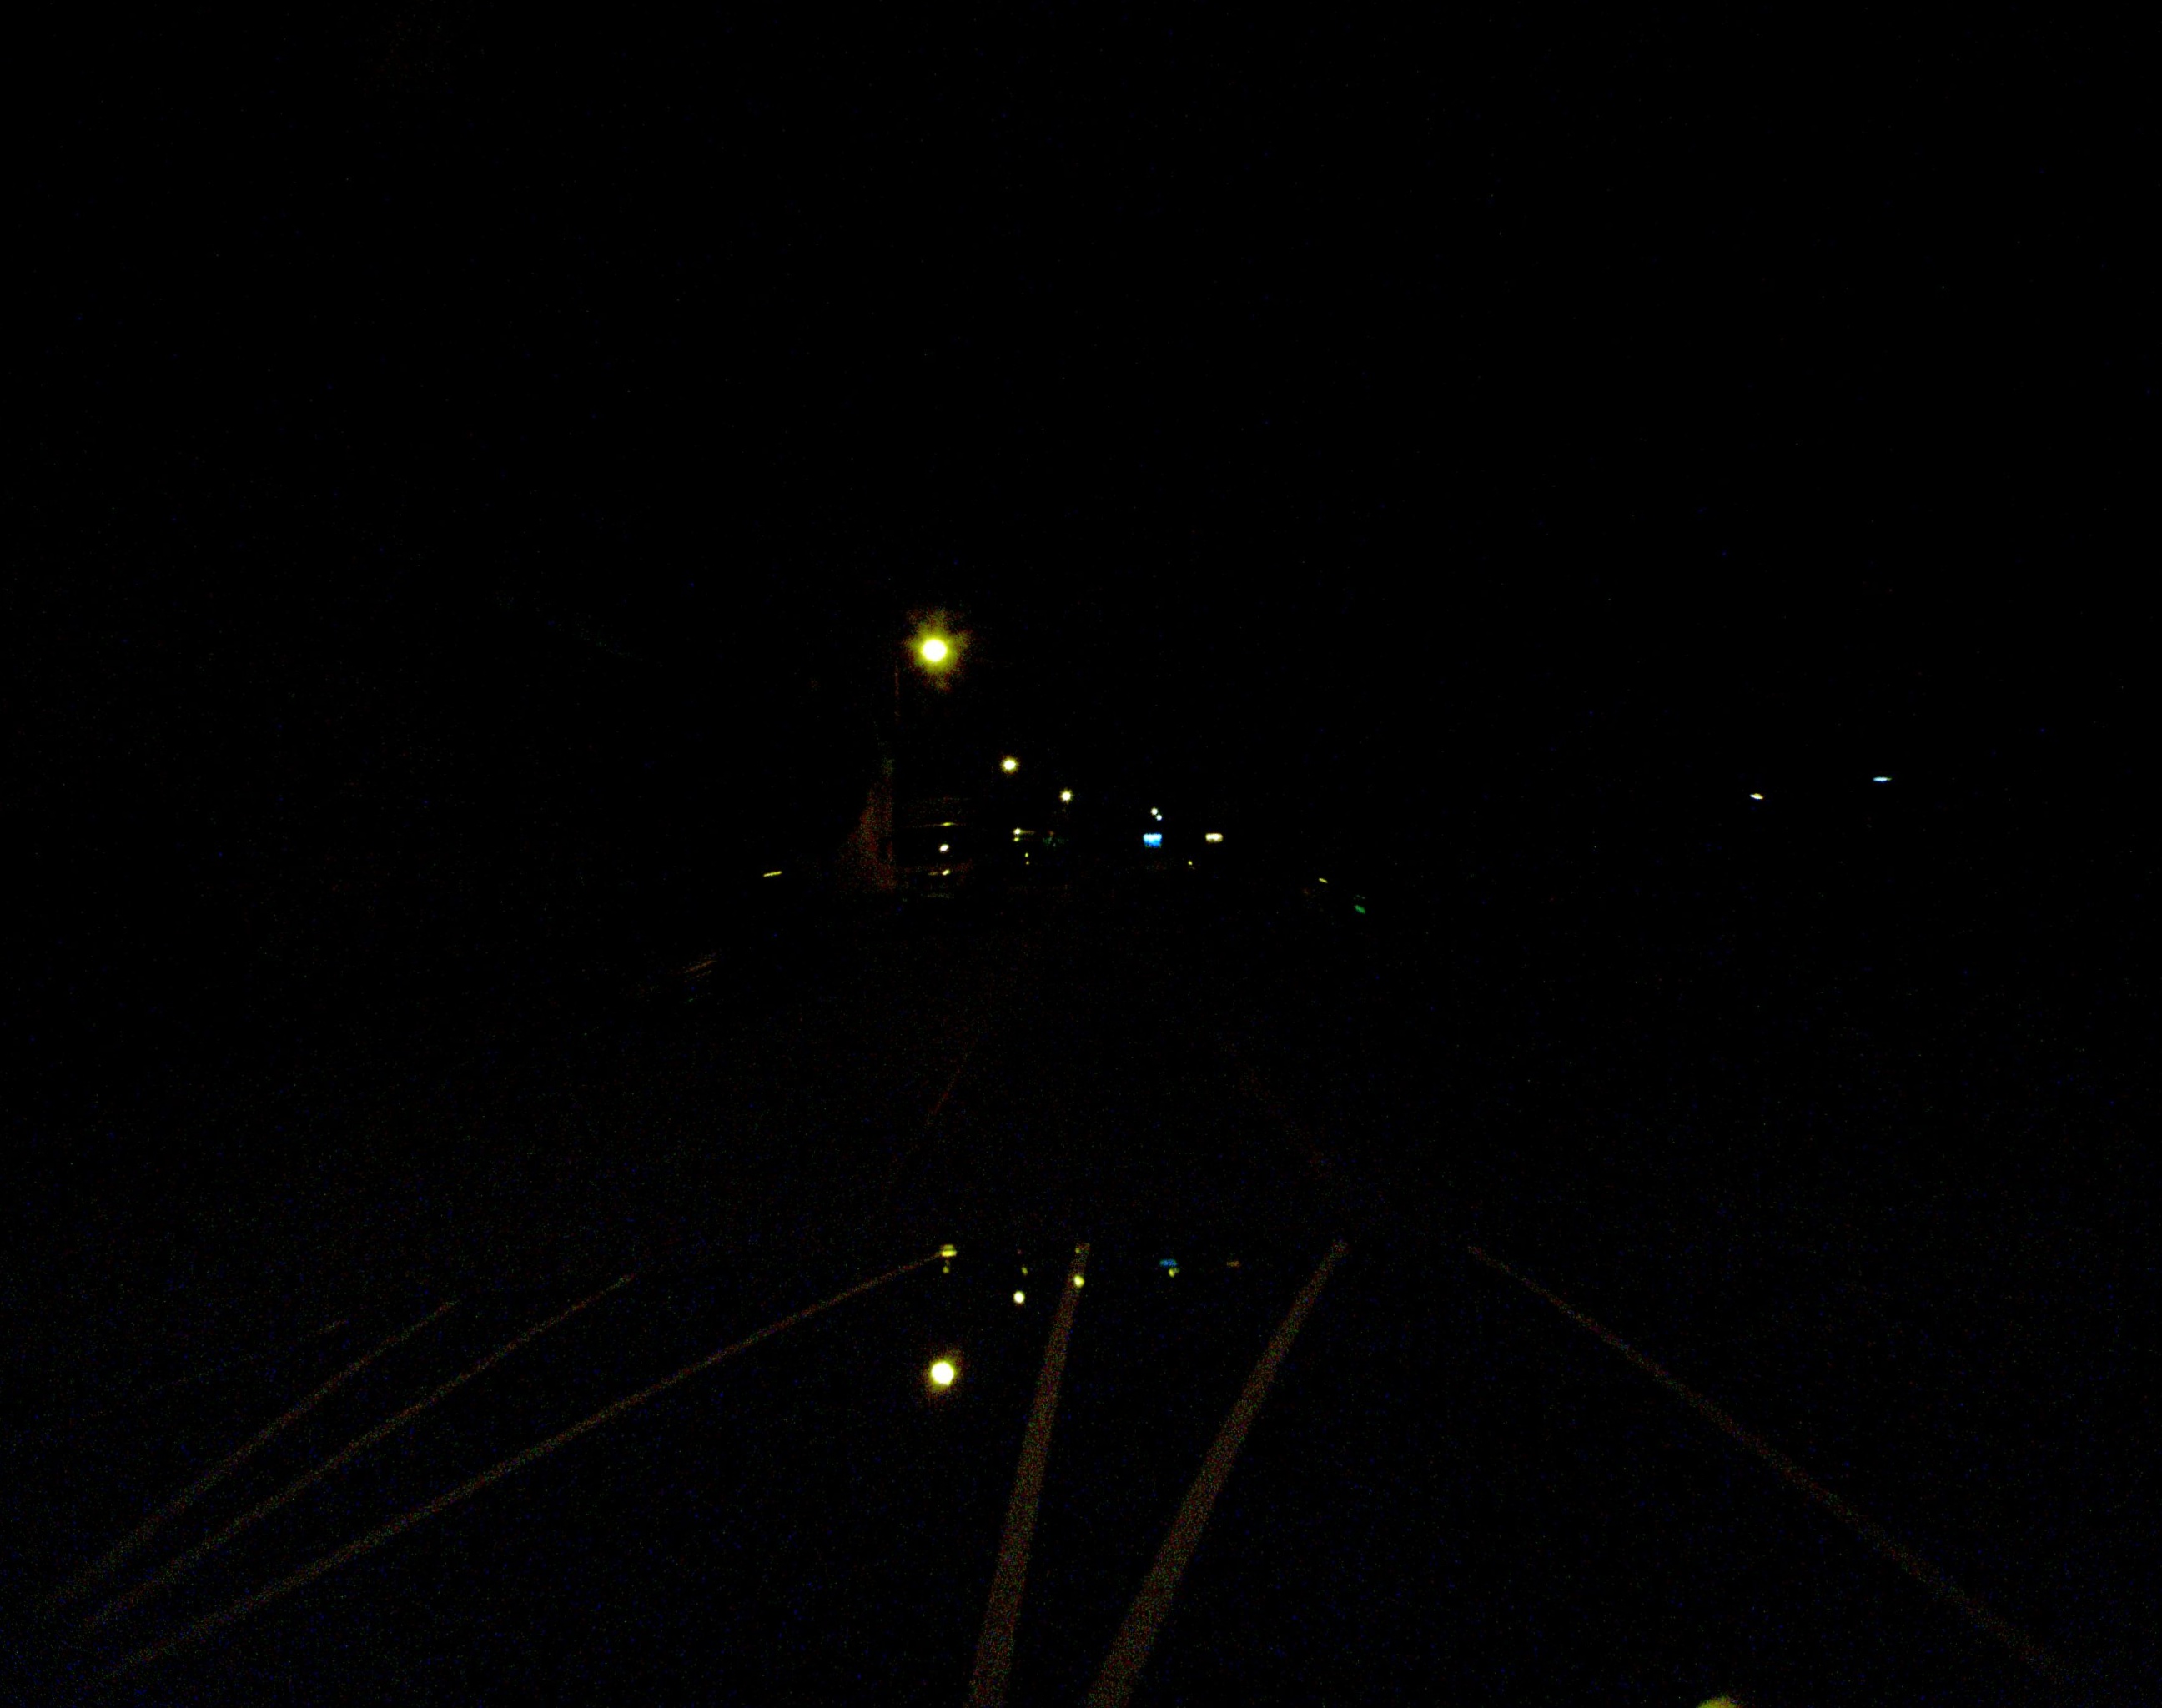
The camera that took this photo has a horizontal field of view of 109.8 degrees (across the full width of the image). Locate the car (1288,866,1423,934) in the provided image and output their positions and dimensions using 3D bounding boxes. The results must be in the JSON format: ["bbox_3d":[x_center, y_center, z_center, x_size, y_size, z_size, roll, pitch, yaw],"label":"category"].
[{"bbox_3d":[6.490,1.029,18.427,1.846,1.411,4.000,-1,0,1],"label":"car"}]

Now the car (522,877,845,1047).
[{"bbox_3d":[-4.426,1.098,9.230,1.857,1.510,3.818,0,0,1],"label":"car"}]

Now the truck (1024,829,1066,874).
[{"bbox_3d":[-3.194,-0.230,68.929,2.836,3.960,6.053,0,0,6],"label":"truck"}]

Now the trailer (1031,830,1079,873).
[{"bbox_3d":[-2.376,-0.227,75.885,2.814,3.960,13.981,0,0,7],"label":"trailer"}]

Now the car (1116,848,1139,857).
[{"bbox_3d":[10.956,-0.347,179.643,5.079,1.826,1.992,-1,1,20],"label":"car"}]

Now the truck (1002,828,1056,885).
[{"bbox_3d":[-3.802,0.187,58.298,2.836,3.960,10.344,0,0,4],"label":"truck"}]

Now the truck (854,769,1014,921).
[{"bbox_3d":[-4.321,-0.234,25.137,3.530,3.960,10.340,0,0,-2],"label":"truck"}]

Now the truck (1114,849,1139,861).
[{"bbox_3d":[10.633,0.204,177.210,5.537,2.585,2.475,-1,1,16],"label":"truck"}]

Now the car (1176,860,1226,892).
[{"bbox_3d":[6.703,1.169,42.825,1.999,1.627,4.773,-2,0,-1],"label":"car"}]

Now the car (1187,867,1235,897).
[{"bbox_3d":[6.391,1.335,37.611,1.606,1.346,4.000,-1,0,-1],"label":"car"}]
